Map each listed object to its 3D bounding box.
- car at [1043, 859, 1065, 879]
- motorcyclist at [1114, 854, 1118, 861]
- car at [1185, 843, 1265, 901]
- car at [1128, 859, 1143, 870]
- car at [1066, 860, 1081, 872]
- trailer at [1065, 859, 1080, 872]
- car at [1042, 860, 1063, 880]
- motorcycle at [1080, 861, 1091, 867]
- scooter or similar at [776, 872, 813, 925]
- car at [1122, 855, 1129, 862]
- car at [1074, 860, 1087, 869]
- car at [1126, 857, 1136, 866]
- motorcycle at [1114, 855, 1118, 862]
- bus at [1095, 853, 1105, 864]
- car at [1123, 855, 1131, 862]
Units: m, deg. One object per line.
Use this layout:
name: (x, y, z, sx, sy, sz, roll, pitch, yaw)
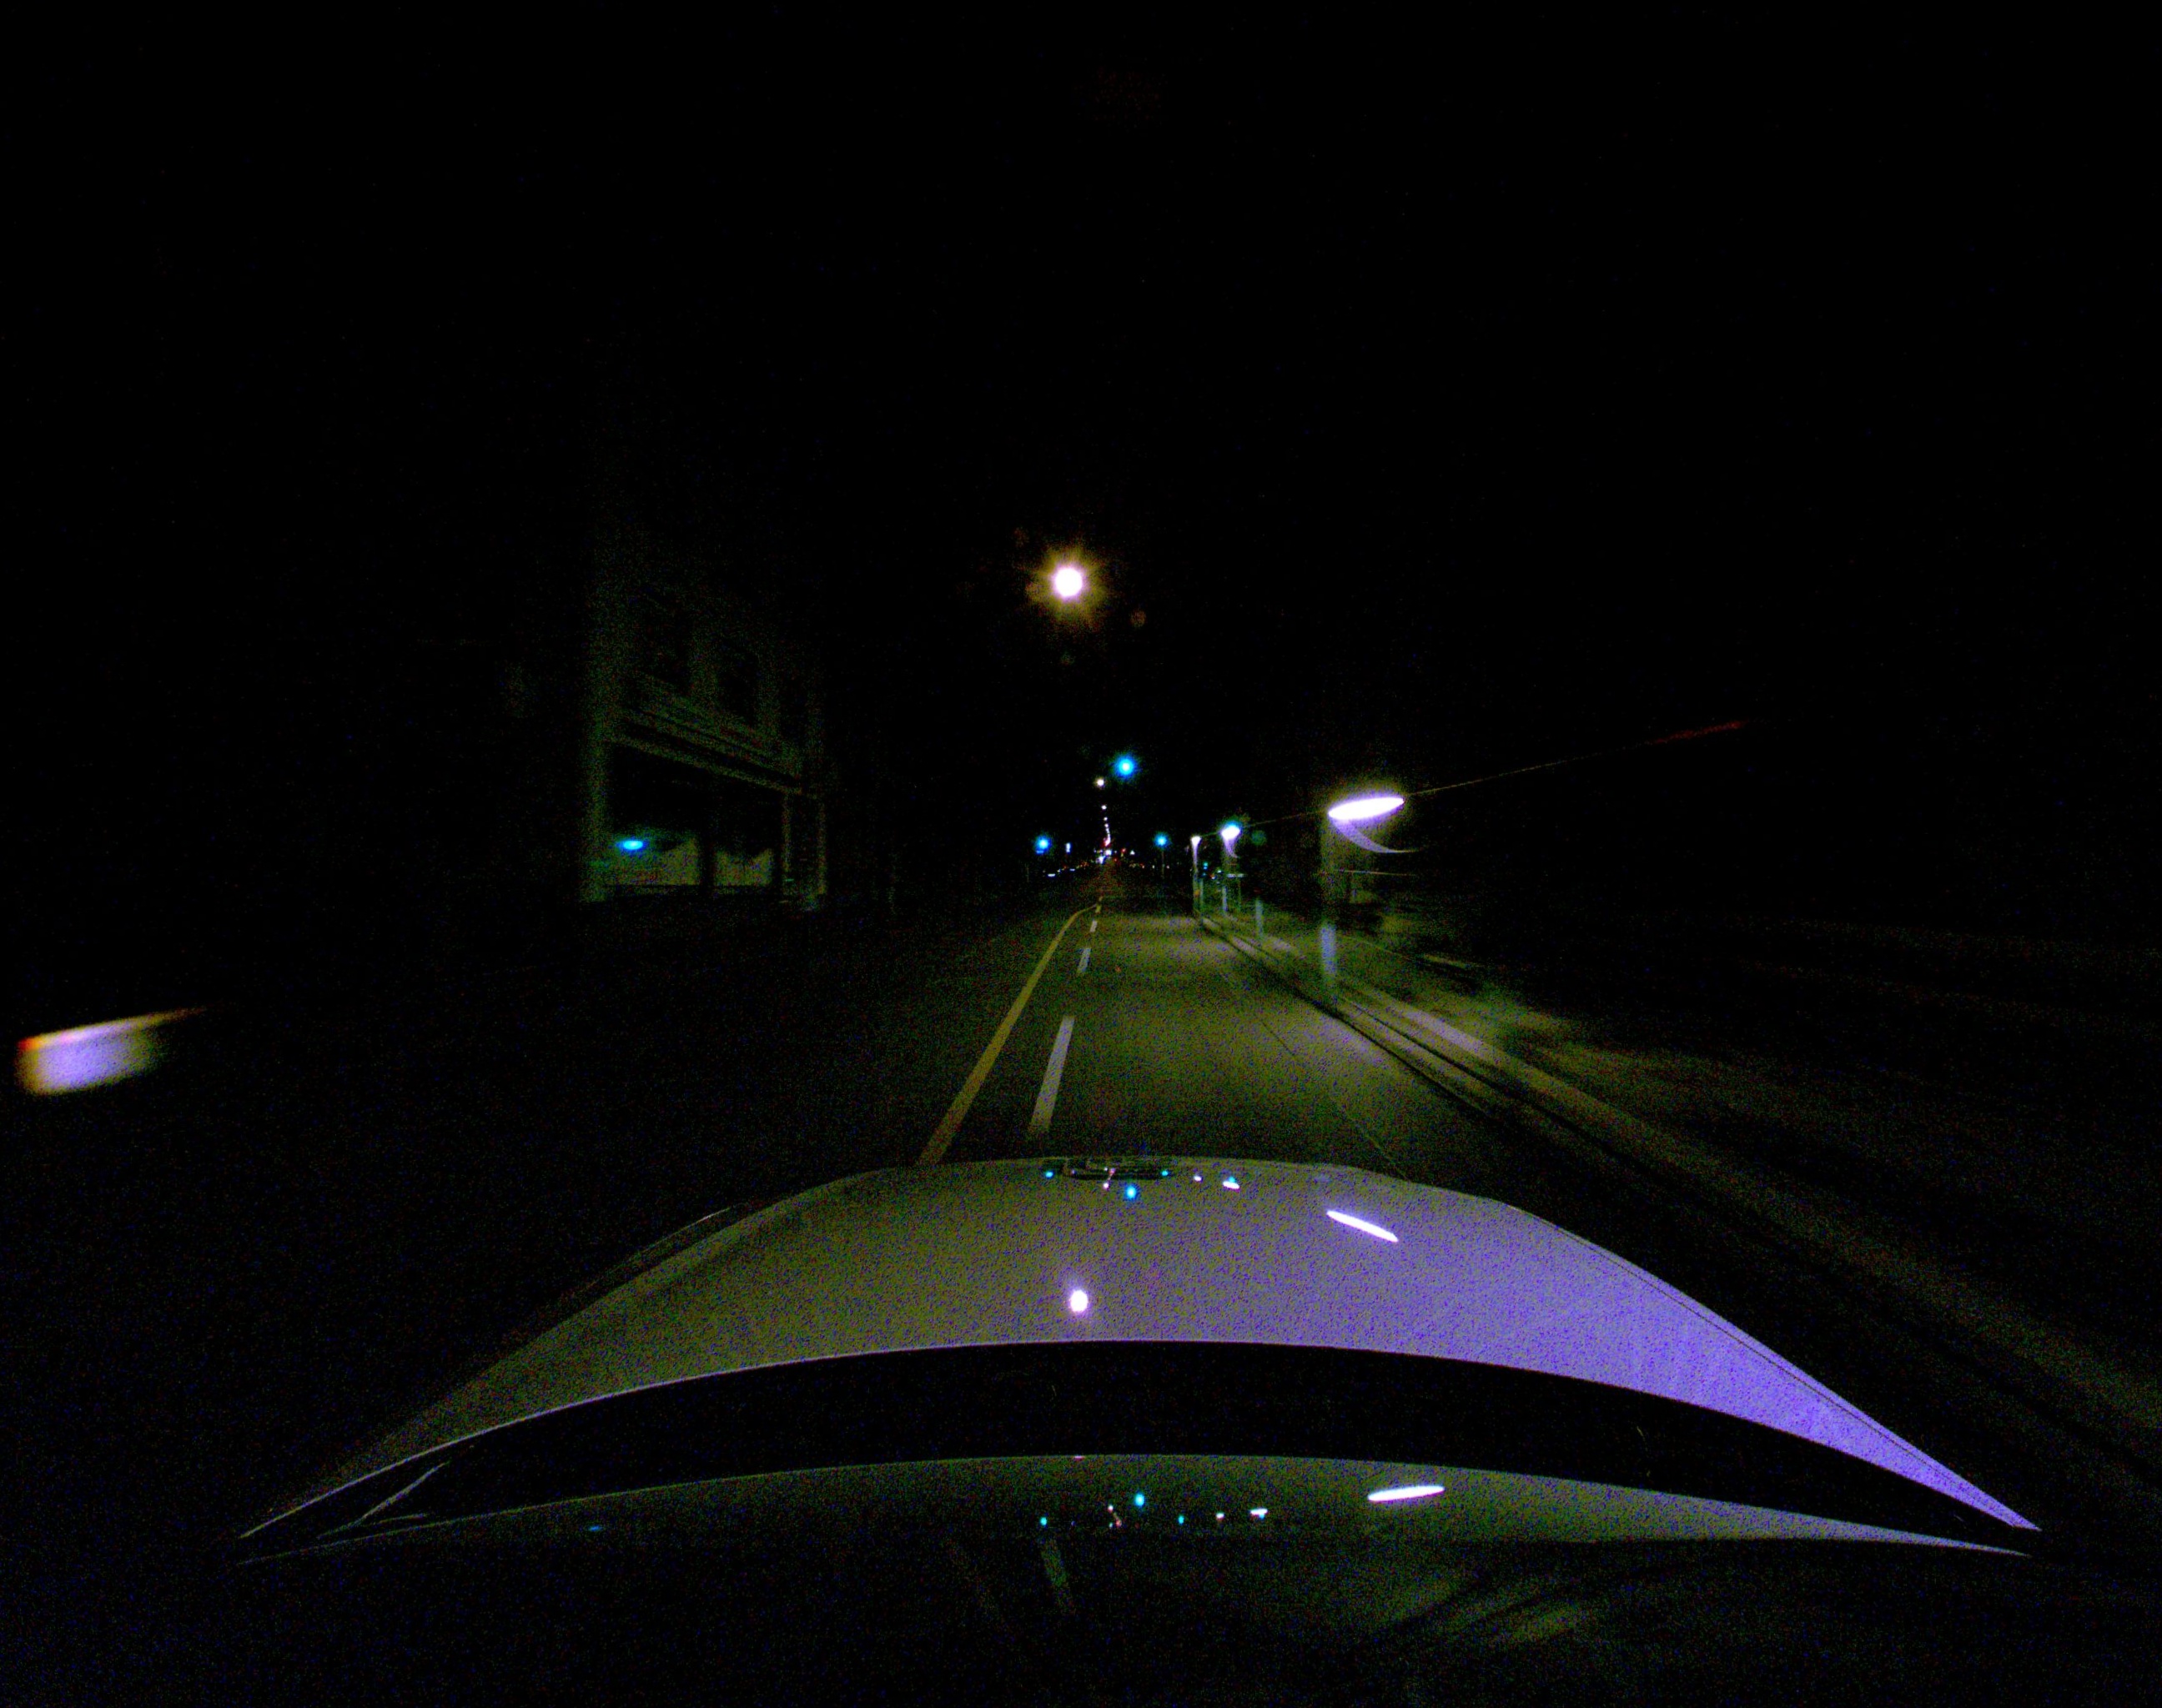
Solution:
car: (-2.318, 1.261, 71.340, 1.843, 1.650, 4.669, 0, 0, -1)
motorcyclist: (8.921, 0.812, 206.745, 0.845, 1.752, 0.806, 0, -1, 2)
car: (4.937, 0.591, 28.653, 1.905, 1.827, 4.899, -1, 0, 0)
car: (7.809, 1.480, 116.314, 1.838, 1.417, 4.646, -4, -1, 1)
car: (-0.939, 1.553, 103.058, 1.808, 1.484, 4.348, -1, -1, 1)
trailer: (-1.103, 1.536, 107.730, 1.629, 1.640, 3.445, 0, -1, 7)
car: (-2.288, 1.259, 65.362, 1.643, 1.514, 3.699, 0, -1, -2)
motorcycle: (0.742, 1.767, 143.959, 0.719, 1.147, 2.183, -2, 0, -40)
scooter or similar: (-6.973, 1.057, 19.850, 0.330, 1.225, 1.336, 0, -1, 4)
car: (11.828, 1.189, 216.912, 1.861, 1.526, 4.152, -2, 0, 2)
car: (-0.072, 1.646, 127.240, 1.857, 1.492, 4.281, 0, -1, 1)
car: (9.437, 1.445, 154.747, 1.756, 1.476, 4.083, -3, 0, 2)
motorcycle: (8.926, 1.027, 206.771, 0.927, 1.752, 2.626, 0, -1, 2)
bus: (6.013, 1.401, 254.676, 2.826, 3.177, 10.504, 0, 0, 2)
car: (11.413, 1.181, 203.736, 1.805, 1.594, 4.276, -2, 0, 2)
